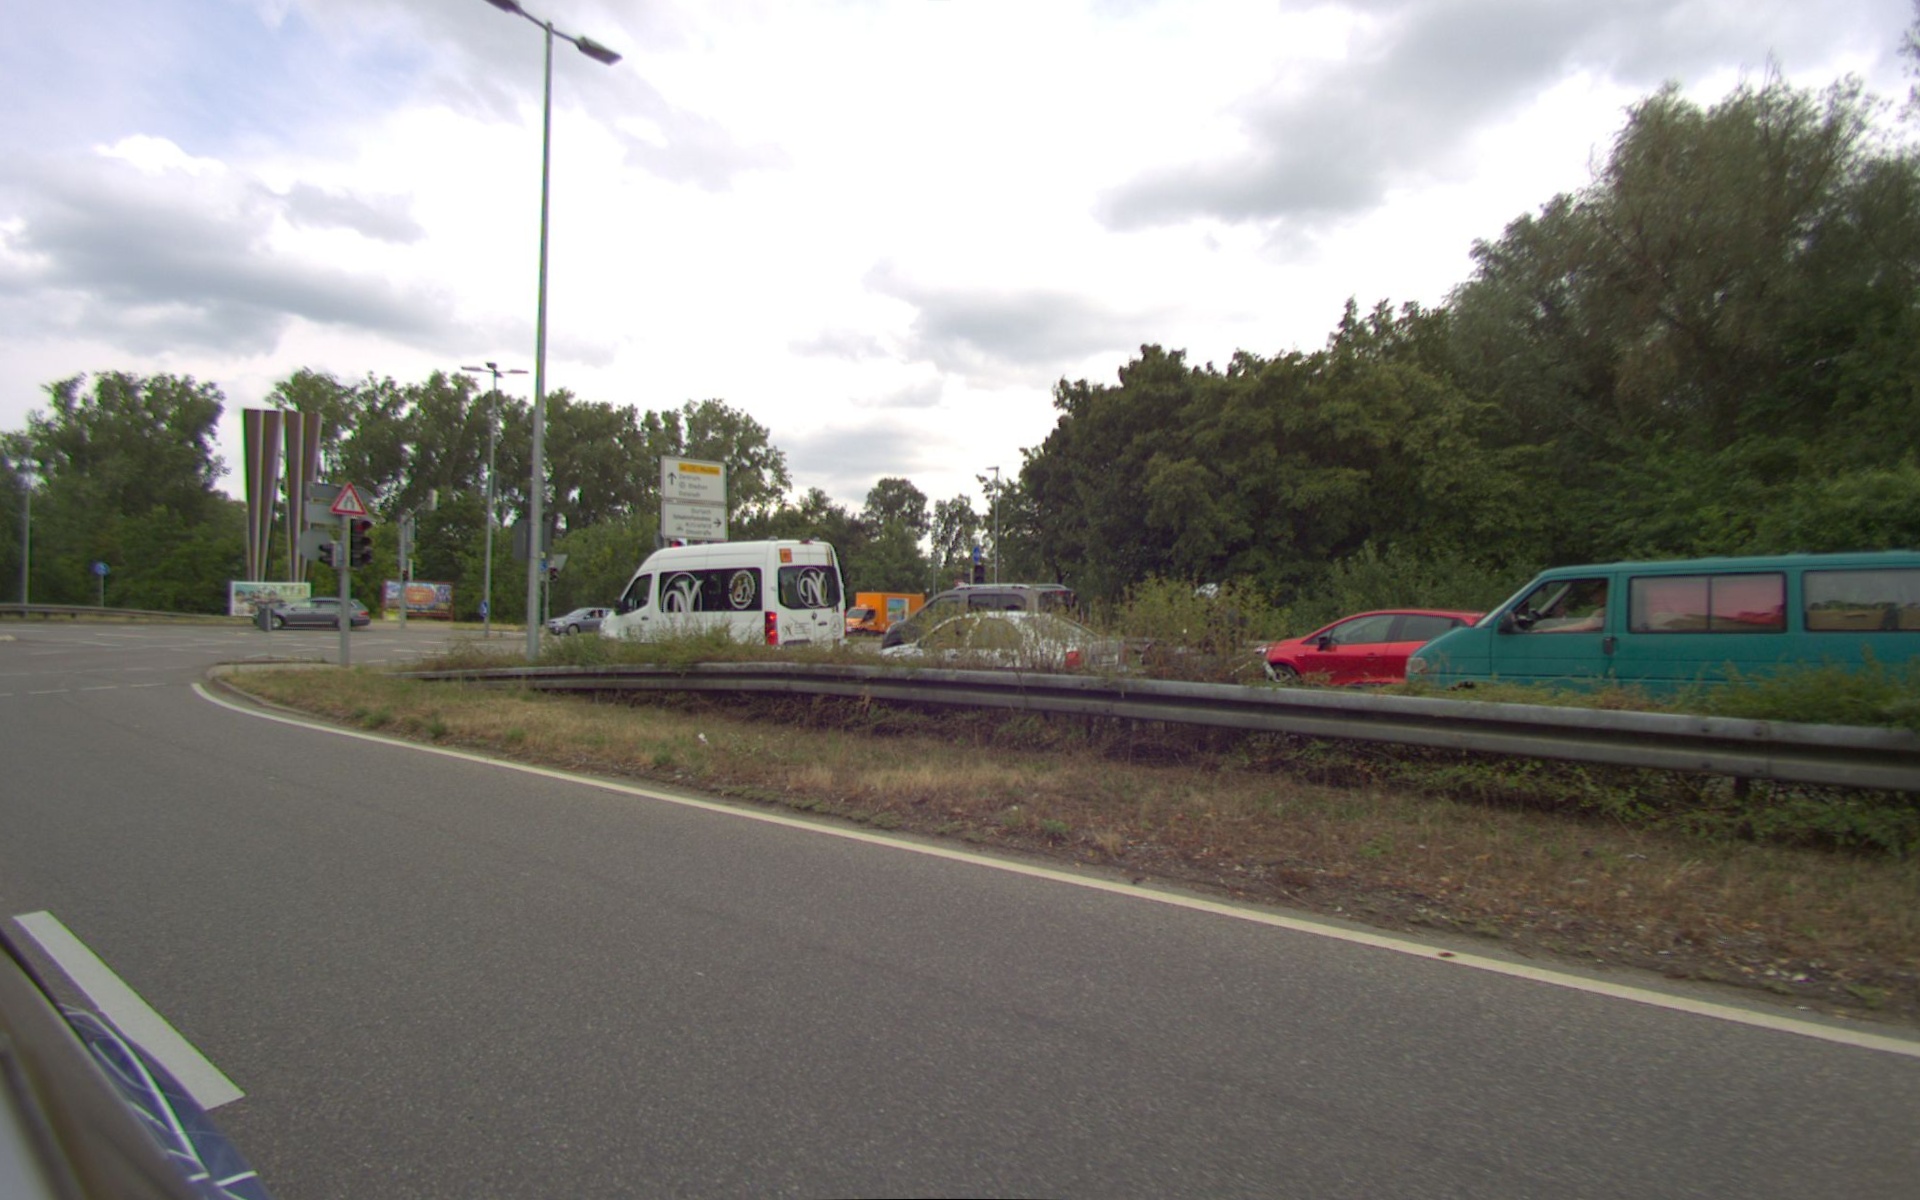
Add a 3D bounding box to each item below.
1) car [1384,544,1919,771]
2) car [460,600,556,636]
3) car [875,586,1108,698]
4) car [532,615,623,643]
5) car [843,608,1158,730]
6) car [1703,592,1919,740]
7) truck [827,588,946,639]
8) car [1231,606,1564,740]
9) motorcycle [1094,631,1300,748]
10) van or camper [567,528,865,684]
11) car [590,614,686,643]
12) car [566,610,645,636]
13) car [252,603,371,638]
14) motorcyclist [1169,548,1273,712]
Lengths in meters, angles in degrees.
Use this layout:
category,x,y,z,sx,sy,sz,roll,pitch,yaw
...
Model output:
category,x,y,z,sx,sy,sz,roll,pitch,yaw
car,6.817,0.447,9.480,4.961,1.742,1.784,0,-1,43
car,-23.690,0.922,53.111,1.925,1.796,4.203,0,-1,38
car,0.534,0.732,19.417,4.165,1.916,1.973,0,-1,41
car,-18.893,1.415,50.132,1.996,1.320,3.761,0,-1,35
car,0.504,0.899,15.008,4.396,1.510,1.973,0,-1,40
car,10.472,0.674,10.555,4.276,1.477,1.785,0,-1,41
truck,-4.734,0.878,67.818,2.964,3.159,9.169,0,-1,34
car,6.186,0.924,14.535,3.998,1.626,1.973,0,-1,41
motorcycle,2.834,1.027,12.264,2.324,1.234,0.791,0,-1,39
van or camper,-4.955,0.108,19.820,6.488,2.608,2.139,0,-1,39
car,-15.377,1.336,48.495,1.996,1.320,4.023,0,-1,35
car,-19.113,1.233,54.648,1.639,1.320,3.841,0,-1,34
car,-29.090,0.896,45.444,4.307,1.500,2.004,1,-1,-38
motorcyclist,3.091,0.339,11.966,0.924,1.837,0.857,0,-1,39
